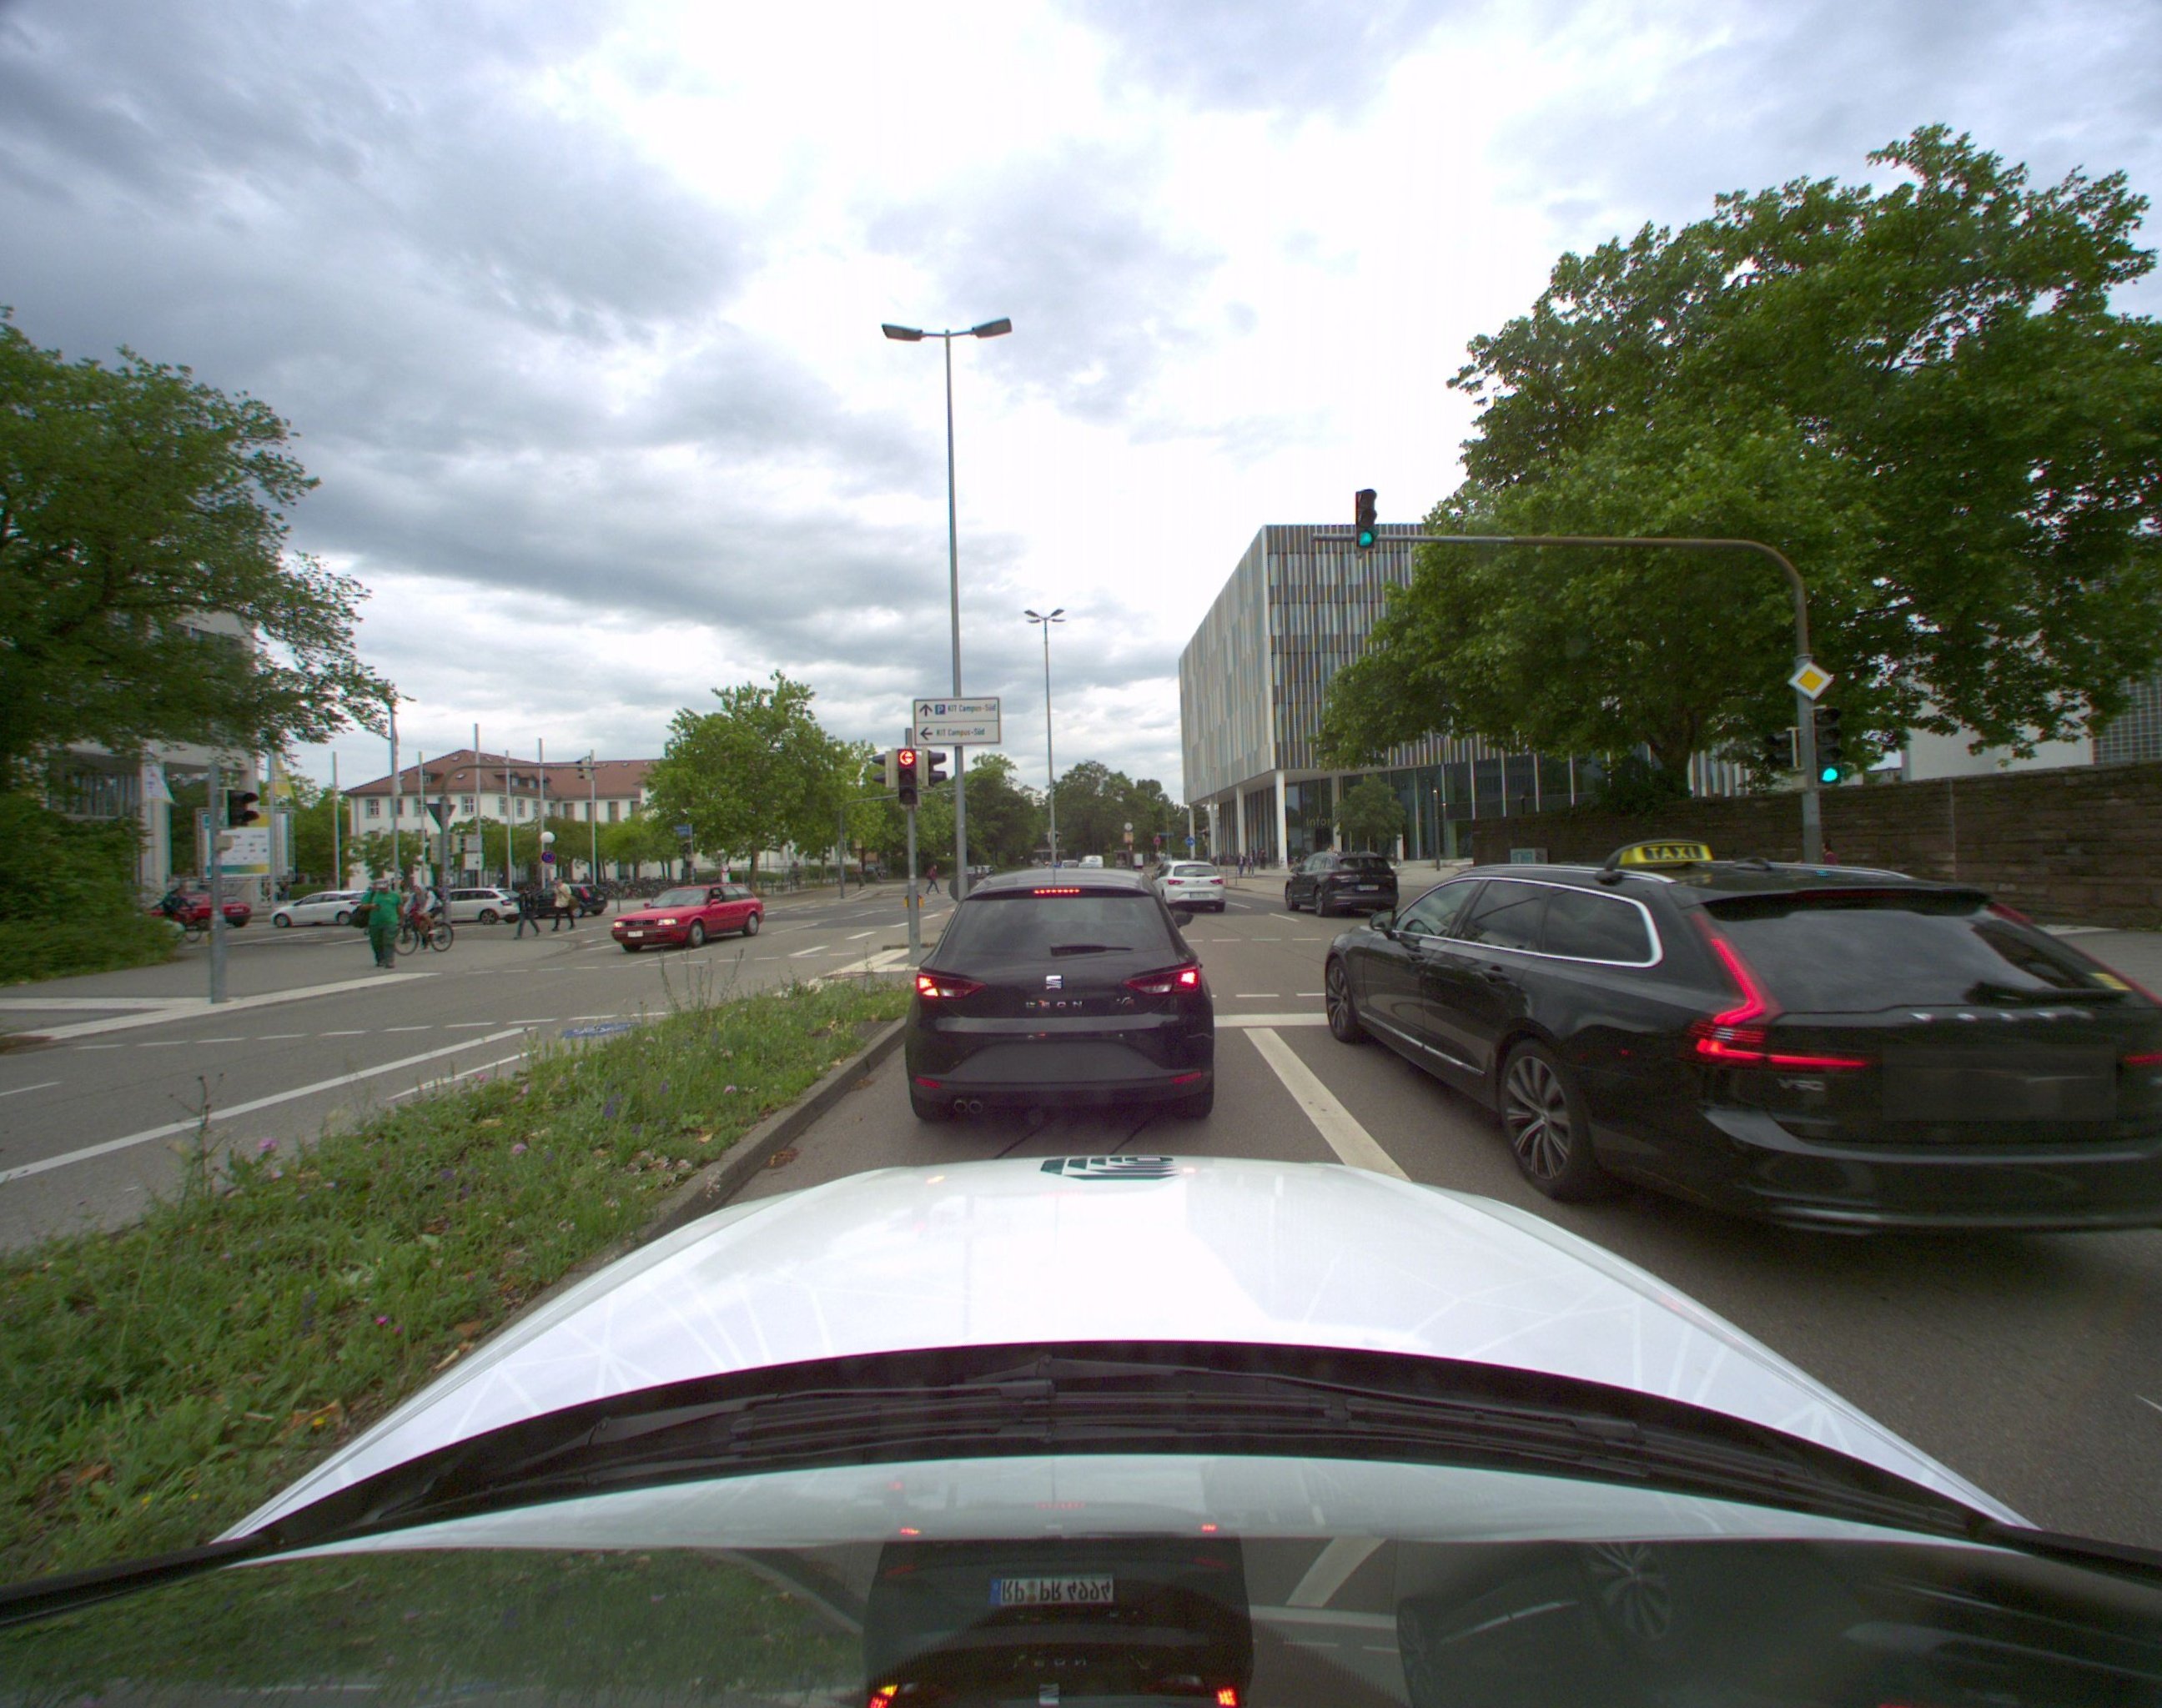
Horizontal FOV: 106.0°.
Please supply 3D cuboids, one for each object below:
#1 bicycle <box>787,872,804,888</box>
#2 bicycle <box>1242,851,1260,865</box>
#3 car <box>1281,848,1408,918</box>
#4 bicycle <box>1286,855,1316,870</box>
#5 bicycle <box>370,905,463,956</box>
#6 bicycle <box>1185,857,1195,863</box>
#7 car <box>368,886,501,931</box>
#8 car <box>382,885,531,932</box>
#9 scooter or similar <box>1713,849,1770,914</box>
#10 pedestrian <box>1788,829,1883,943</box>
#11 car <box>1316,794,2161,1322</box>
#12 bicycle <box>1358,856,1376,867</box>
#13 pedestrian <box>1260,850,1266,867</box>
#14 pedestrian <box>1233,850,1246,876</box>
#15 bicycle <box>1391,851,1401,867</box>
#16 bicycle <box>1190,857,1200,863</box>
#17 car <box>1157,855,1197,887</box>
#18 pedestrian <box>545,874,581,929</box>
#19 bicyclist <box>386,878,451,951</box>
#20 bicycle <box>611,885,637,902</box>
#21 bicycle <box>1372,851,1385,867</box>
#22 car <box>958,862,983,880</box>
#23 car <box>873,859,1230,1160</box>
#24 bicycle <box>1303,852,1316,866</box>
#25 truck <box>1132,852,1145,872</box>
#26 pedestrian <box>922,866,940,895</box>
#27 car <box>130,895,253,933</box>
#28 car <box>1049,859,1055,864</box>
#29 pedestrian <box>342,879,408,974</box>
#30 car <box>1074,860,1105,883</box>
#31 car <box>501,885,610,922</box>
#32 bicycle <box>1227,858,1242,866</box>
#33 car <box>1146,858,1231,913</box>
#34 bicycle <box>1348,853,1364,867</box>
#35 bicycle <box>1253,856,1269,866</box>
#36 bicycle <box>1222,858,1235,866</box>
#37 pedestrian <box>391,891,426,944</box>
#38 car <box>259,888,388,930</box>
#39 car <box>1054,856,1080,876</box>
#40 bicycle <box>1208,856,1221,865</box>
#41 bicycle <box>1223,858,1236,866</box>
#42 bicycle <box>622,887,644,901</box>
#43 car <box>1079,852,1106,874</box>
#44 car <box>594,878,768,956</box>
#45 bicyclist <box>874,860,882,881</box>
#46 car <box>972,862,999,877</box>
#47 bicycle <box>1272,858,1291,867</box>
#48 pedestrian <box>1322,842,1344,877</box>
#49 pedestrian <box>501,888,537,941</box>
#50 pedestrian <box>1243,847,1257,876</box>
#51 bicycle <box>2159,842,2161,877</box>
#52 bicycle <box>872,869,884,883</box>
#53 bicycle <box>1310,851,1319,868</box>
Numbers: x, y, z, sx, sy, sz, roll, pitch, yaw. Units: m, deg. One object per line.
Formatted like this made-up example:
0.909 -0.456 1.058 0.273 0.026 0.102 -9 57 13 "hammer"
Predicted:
-21.090 1.898 60.235 0.606 1.060 2.041 -3 0 -4 "bicycle"
16.173 0.410 77.510 1.785 1.211 0.564 -4 0 -32 "bicycle"
6.692 0.689 21.244 1.901 1.624 4.491 -1 0 1 "car"
15.102 0.609 55.982 1.892 0.898 0.693 -4 0 -20 "bicycle"
-15.432 1.765 18.959 0.662 1.062 1.624 -1 -1 10 "bicycle"
14.546 0.791 108.800 1.262 0.848 0.479 1 -2 -21 "bicycle"
-27.693 2.298 35.044 4.059 1.452 1.615 -3 5 -16 "car"
-24.226 2.092 31.752 4.215 1.431 1.704 -4 0 -11 "car"
13.085 0.517 16.168 0.428 1.179 1.714 -4 0 26 "scooter or similar"
11.101 0.457 11.998 0.657 1.561 0.636 -6 0 1 "pedestrian"
2.942 0.633 4.747 1.877 1.600 4.447 -1 0 0 "car"
21.184 0.528 60.289 1.535 0.716 0.513 -4 0 -42 "bicycle"
15.312 0.363 68.512 0.469 1.361 0.447 -3 0 12 "pedestrian"
10.125 0.583 52.022 0.684 1.640 0.633 -1 0 1 "pedestrian"
22.531 0.322 58.289 0.616 1.056 1.959 -3 0 21 "bicycle"
14.950 0.763 106.688 1.239 0.823 0.479 0 -1 -21 "bicycle"
4.881 0.880 41.995 1.817 1.551 4.531 0 -1 4 "car"
-16.938 1.557 26.653 0.843 1.740 0.824 -2 -5 -22 "pedestrian"
-15.430 1.396 18.990 0.662 1.635 0.964 -1 -1 10 "bicyclist"
-31.088 2.708 55.423 1.405 1.052 0.585 -4 0 -19 "bicycle"
21.655 0.381 59.236 0.802 1.056 1.959 -3 0 21 "bicycle"
-11.694 1.833 86.777 1.899 1.717 4.002 -3 0 2 "car"
-0.016 0.778 5.892 1.745 1.432 3.773 -1 0 4 "car"
18.789 0.437 66.893 0.614 1.045 1.716 -3 0 28 "bicycle"
6.951 0.965 99.403 1.313 2.243 3.403 -3 0 2 "truck"
-8.529 1.484 46.314 0.873 1.586 0.542 -3 0 -5 "pedestrian"
-38.173 2.560 35.013 3.341 1.479 1.559 -1 0 -5 "car"
-9.007 2.379 254.300 1.692 1.503 4.003 -3 0 -5 "car"
-13.866 1.383 15.996 0.948 1.759 0.865 0 -2 -42 "pedestrian"
0.499 1.122 53.840 1.719 1.414 4.239 -1 0 -4 "car"
-23.135 2.171 35.953 3.649 1.223 1.562 -1 7 -5 "car"
15.831 0.822 83.981 1.368 0.705 0.416 -3 0 4 "bicycle"
3.096 0.858 24.179 1.777 1.463 3.866 -1 0 -3 "car"
20.595 0.467 60.964 0.688 0.946 1.997 -3 0 32 "bicycle"
16.795 0.628 75.951 1.445 0.857 0.362 -4 0 -25 "bicycle"
15.703 0.839 86.675 1.232 0.705 0.490 -3 0 10 "bicycle"
-19.939 1.885 24.167 0.572 1.527 0.842 -2 -5 -22 "pedestrian"
-33.001 2.375 35.562 3.868 1.539 1.684 -2 2 -2 "car"
-1.228 0.961 68.976 1.728 1.603 4.095 -1 0 -7 "car"
14.995 0.750 91.663 1.379 0.942 0.489 -3 0 8 "bicycle"
15.626 0.855 85.784 1.366 0.705 0.490 -3 0 10 "bicycle"
-30.901 2.758 56.187 1.211 0.880 0.262 -4 0 -22 "bicycle"
1.039 0.850 77.930 1.965 1.972 4.332 0 0 -7 "car"
-9.315 1.410 19.430 1.706 1.418 4.299 -3 0 4 "car"
-16.366 1.314 65.613 0.489 1.624 0.588 0 1 1 "bicyclist"
-11.285 1.843 96.380 1.746 1.587 4.016 -3 0 15 "car"
17.057 0.725 69.353 1.475 0.748 0.566 -4 0 -2 "bicycle"
13.126 0.260 42.430 0.844 1.765 0.768 -3 0 1 "pedestrian"
-16.958 1.816 24.579 0.796 1.558 0.691 1 -5 -42 "pedestrian"
10.823 0.478 52.185 0.684 1.781 0.677 -2 0 1 "pedestrian"
13.546 0.406 8.910 0.801 1.174 1.952 -5 0 -3 "bicycle"
-16.365 1.770 65.622 0.486 1.005 1.590 -1 1 2 "bicycle"
18.401 0.404 64.107 0.522 1.253 1.674 -3 0 20 "bicycle"
